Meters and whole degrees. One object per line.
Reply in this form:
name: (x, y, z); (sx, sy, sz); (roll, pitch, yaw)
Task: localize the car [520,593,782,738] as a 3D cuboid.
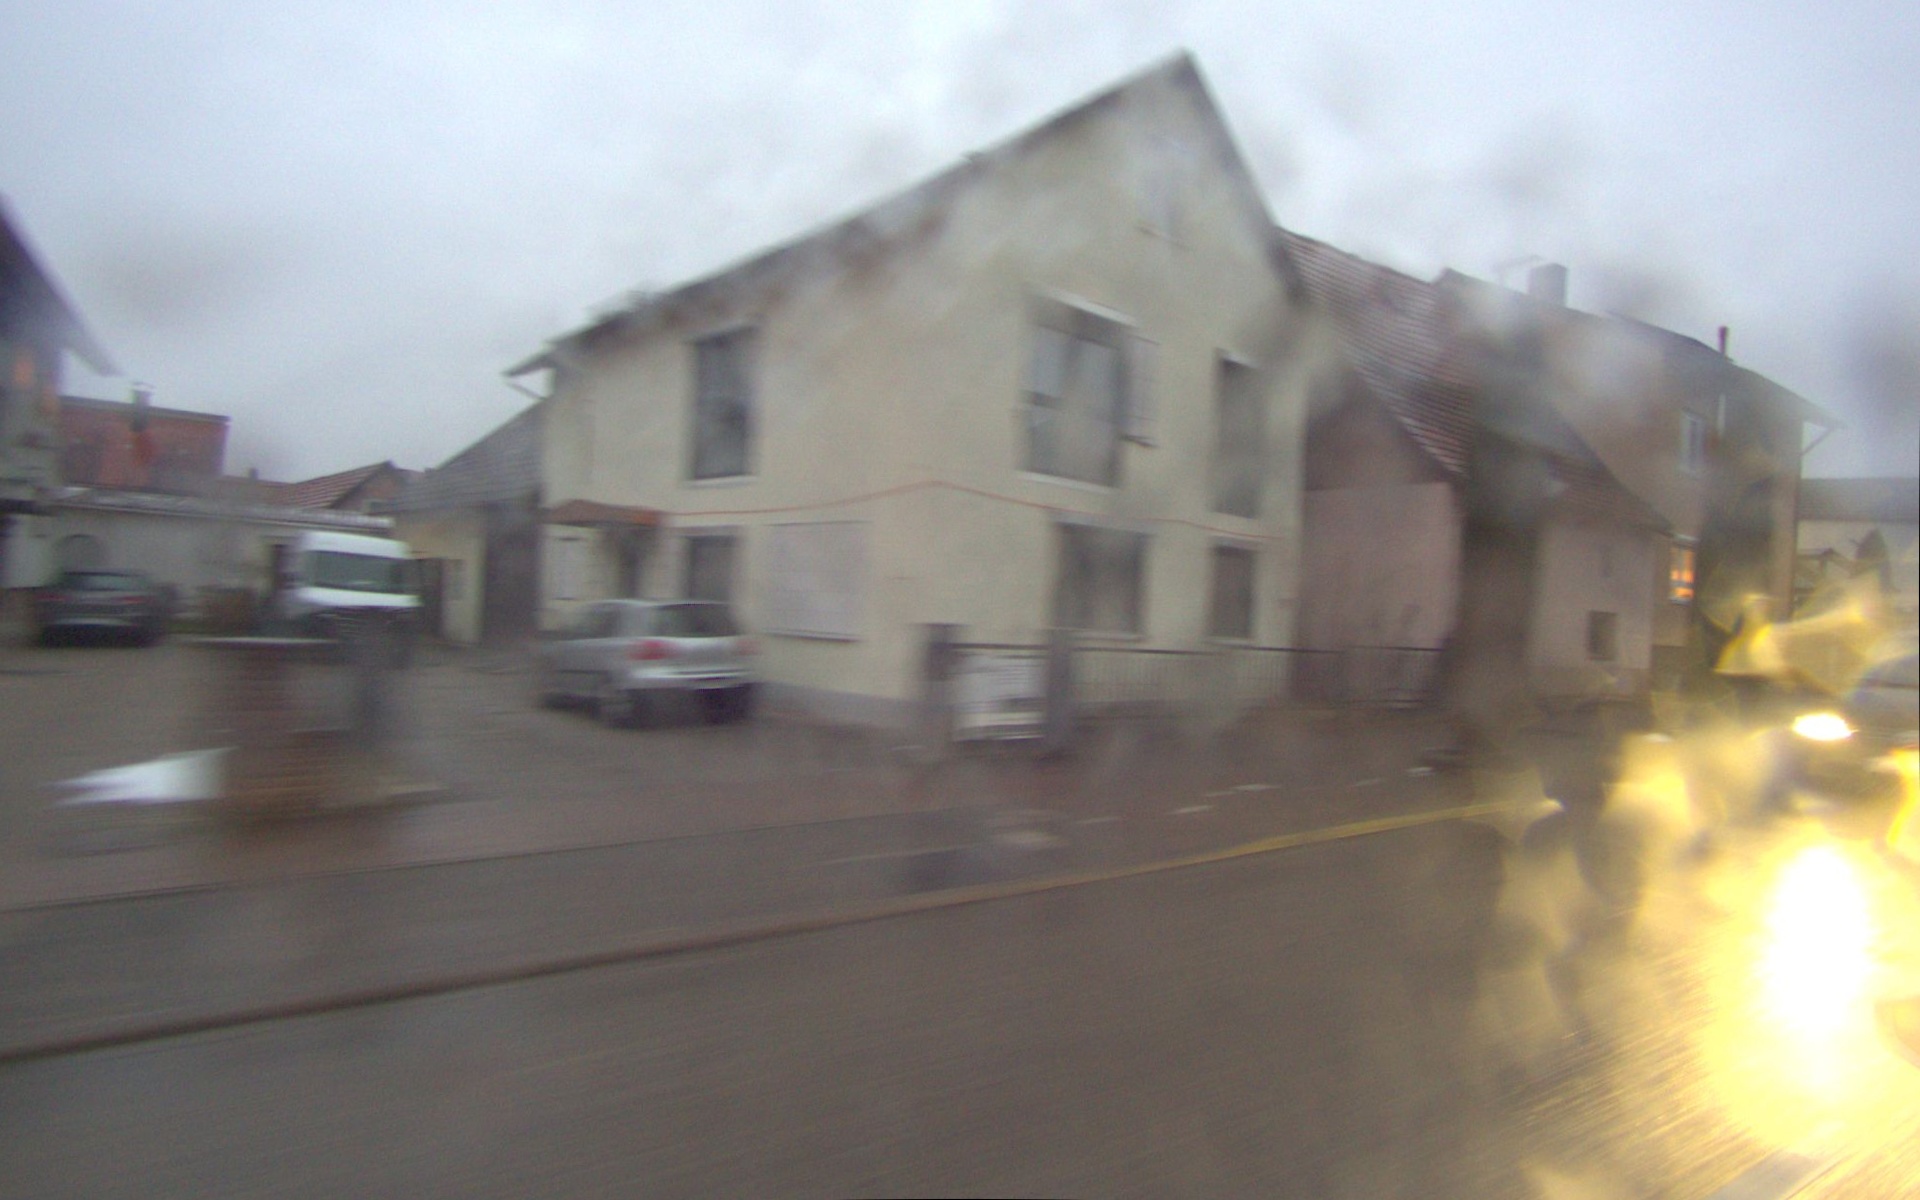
car: (-4.062, 0.710, 12.791); (1.805, 1.482, 3.954); (2, 0, -39)

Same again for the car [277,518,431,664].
car: (-12.464, -0.178, 20.468); (2.192, 2.573, 5.298); (2, 0, -36)

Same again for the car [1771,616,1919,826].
car: (9.417, 1.023, 9.332); (3.960, 1.675, 1.899); (1, 1, -35)

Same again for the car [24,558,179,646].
car: (-16.428, 0.025, 19.414); (1.802, 1.506, 3.961); (2, 0, -34)
